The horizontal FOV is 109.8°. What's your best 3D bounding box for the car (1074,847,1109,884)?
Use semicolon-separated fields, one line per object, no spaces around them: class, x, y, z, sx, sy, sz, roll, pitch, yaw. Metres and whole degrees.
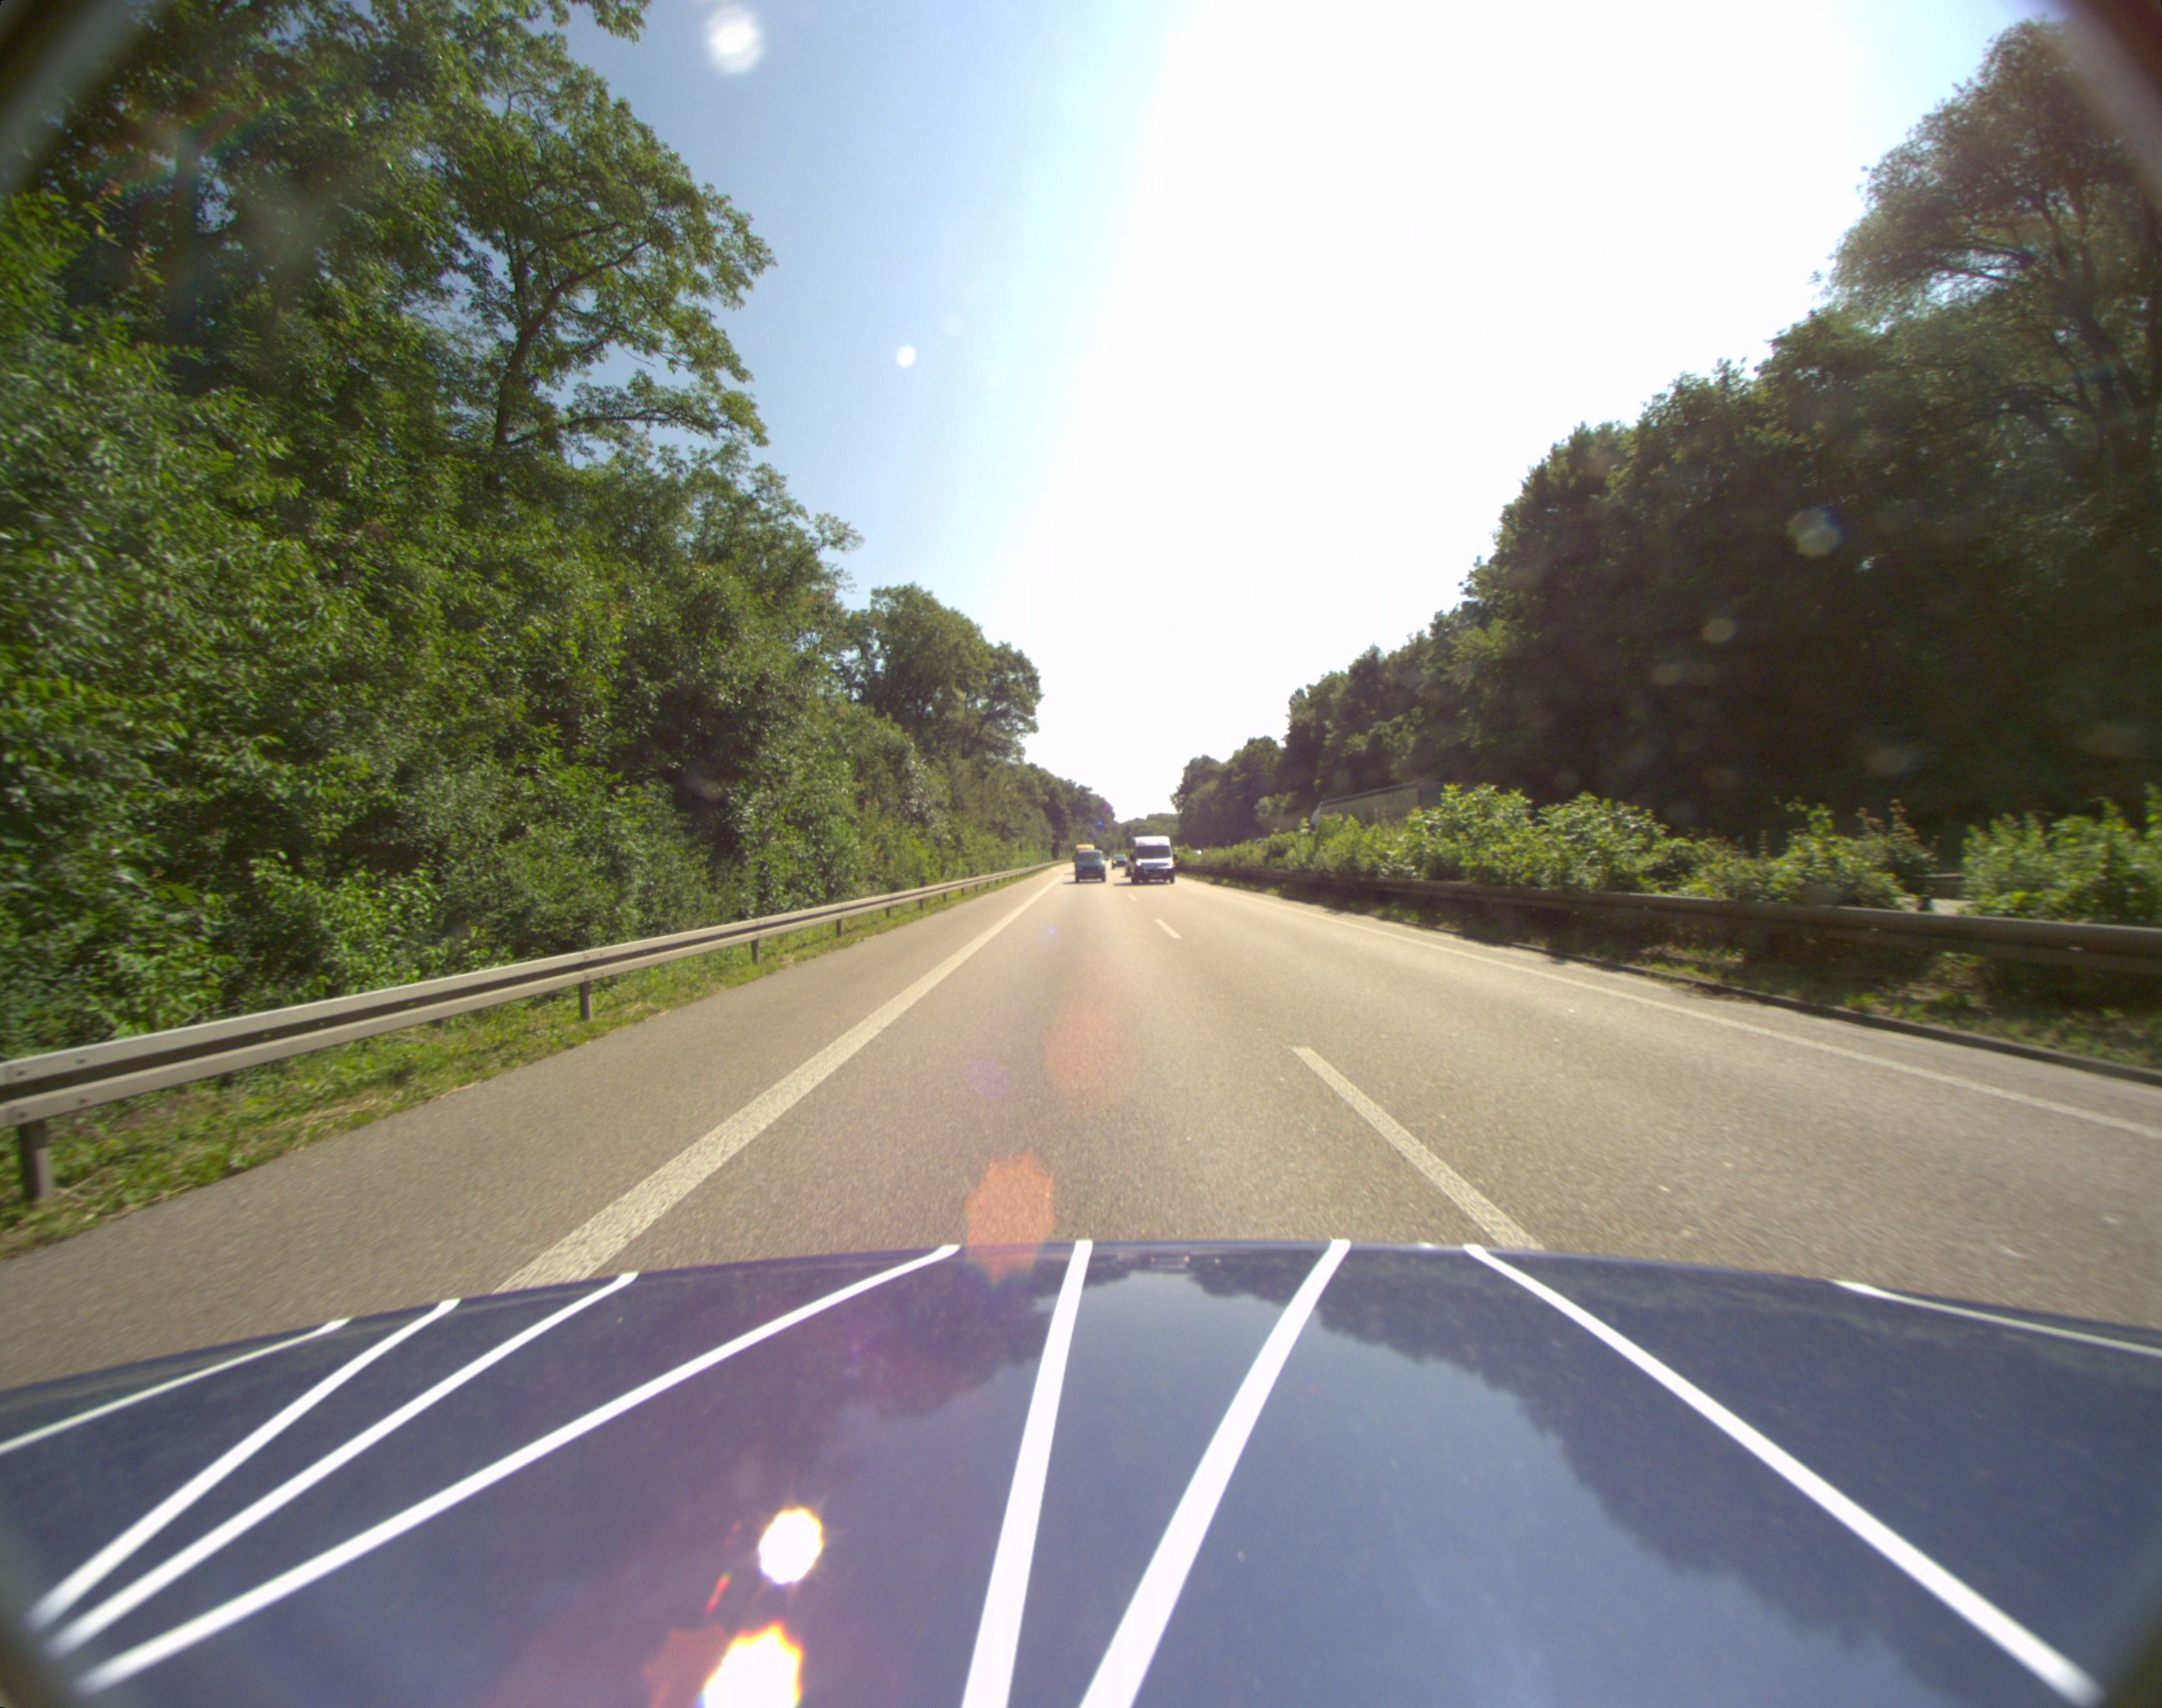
car;0.581;0.587;43.512;1.812;1.921;4.581;-2;1;1

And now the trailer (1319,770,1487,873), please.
trailer;15.763;-1.450;38.926;2.836;4.275;13.662;-2;1;1

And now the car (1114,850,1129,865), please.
car;4.577;0.393;85.738;1.517;1.624;3.611;-2;1;1

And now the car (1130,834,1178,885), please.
car;3.810;0.252;40.365;2.046;2.429;4.637;-2;1;1

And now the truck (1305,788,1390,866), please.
truck;15.728;-1.531;45.312;2.724;4.219;6.536;-2;1;1

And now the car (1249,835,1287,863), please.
car;12.127;-0.312;49.530;1.611;1.696;3.481;-2;1;1

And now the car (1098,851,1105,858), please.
car;6.201;0.054;228.785;1.998;2.002;4.000;-2;1;3

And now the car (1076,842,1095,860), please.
car;0.444;-0.299;71.742;1.737;1.624;3.899;-2;1;1
